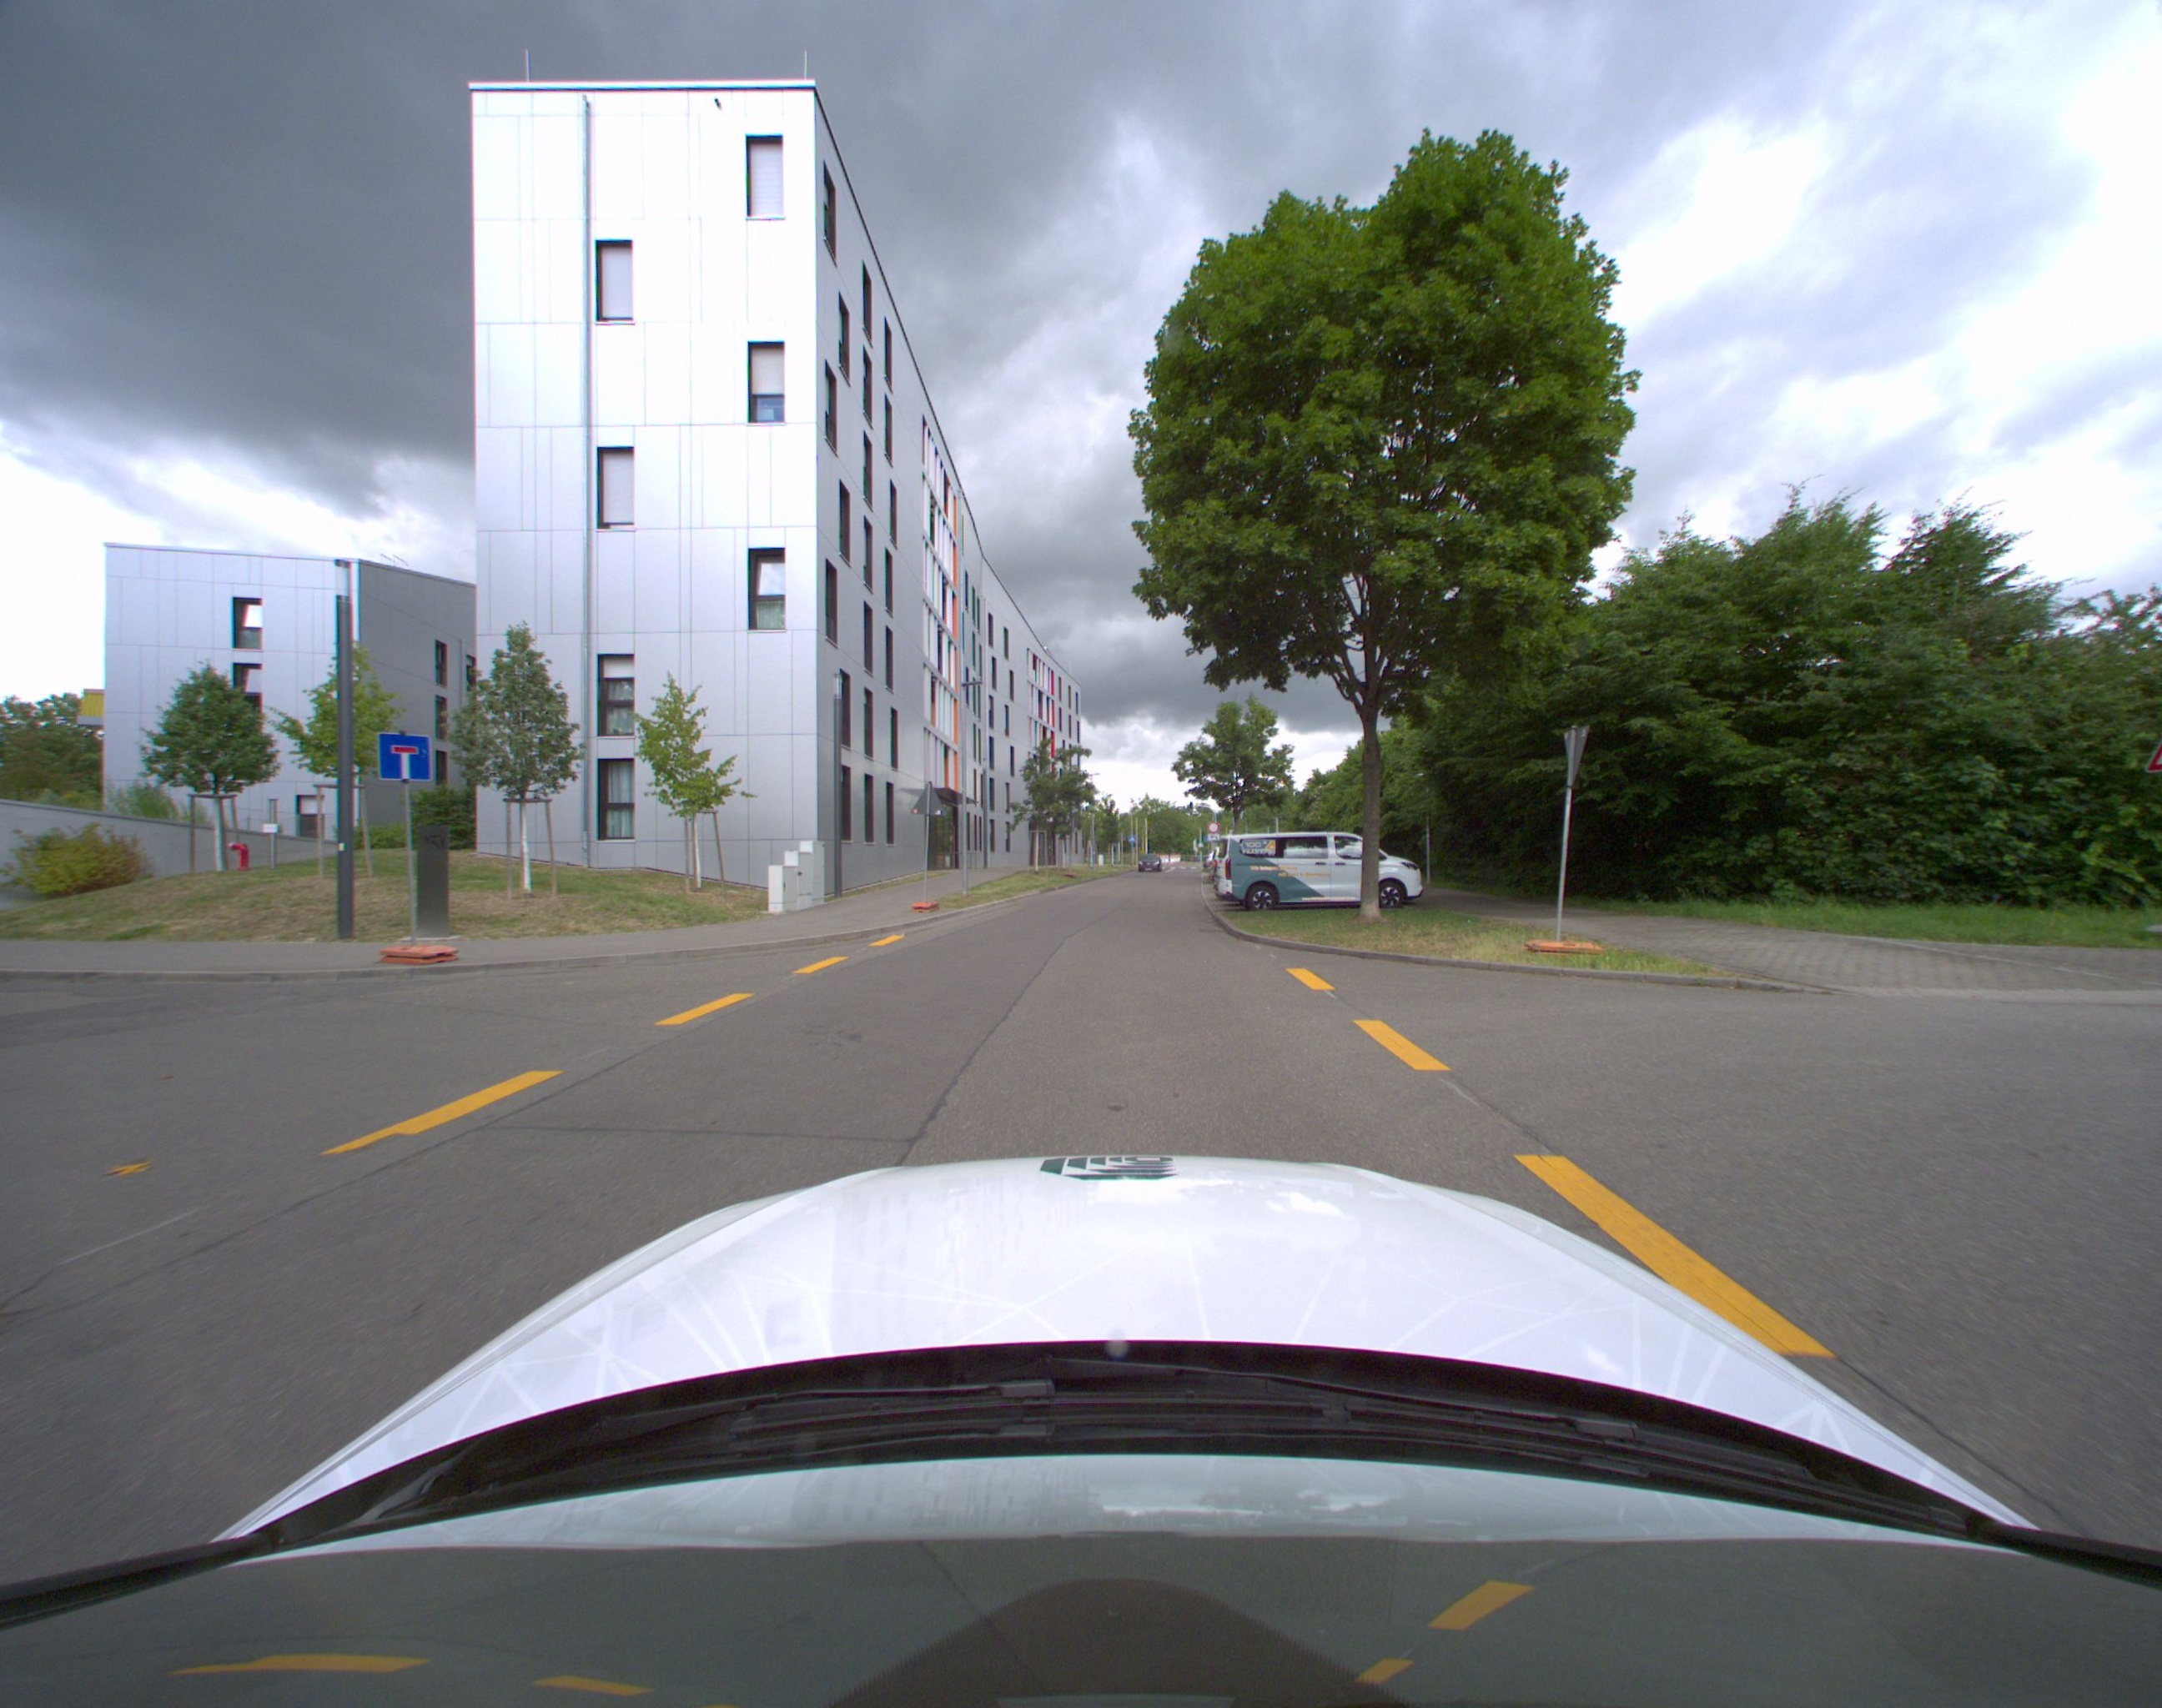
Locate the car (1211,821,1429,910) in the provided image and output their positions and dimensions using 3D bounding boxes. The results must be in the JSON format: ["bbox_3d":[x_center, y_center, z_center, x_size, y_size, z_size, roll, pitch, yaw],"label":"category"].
[{"bbox_3d":[5.919,0.269,20.599,4.952,1.972,1.848,-2,0,2],"label":"car"}]

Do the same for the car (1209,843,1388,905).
[{"bbox_3d":[6.059,0.546,23.171,4.679,1.516,1.850,-2,0,6],"label":"car"}]

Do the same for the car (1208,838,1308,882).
[{"bbox_3d":[8.269,0.273,38.388,4.356,1.904,1.920,-2,0,6],"label":"car"}]

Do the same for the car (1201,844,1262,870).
[{"bbox_3d":[11.265,0.202,61.141,4.356,1.903,1.920,0,0,6],"label":"car"}]

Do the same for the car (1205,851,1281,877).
[{"bbox_3d":[9.700,0.575,48.946,4.356,1.475,1.920,0,0,6],"label":"car"}]

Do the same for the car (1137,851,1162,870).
[{"bbox_3d":[5.428,0.496,63.889,1.599,1.388,4.011,1,0,10],"label":"car"}]

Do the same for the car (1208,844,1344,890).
[{"bbox_3d":[7.311,0.467,30.947,4.705,1.498,2.113,-2,0,3],"label":"car"}]

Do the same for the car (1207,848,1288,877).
[{"bbox_3d":[9.397,0.494,46.166,4.356,1.573,1.920,0,0,6],"label":"car"}]

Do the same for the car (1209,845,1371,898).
[{"bbox_3d":[6.462,0.539,25.658,4.698,1.434,2.061,-2,0,7],"label":"car"}]
